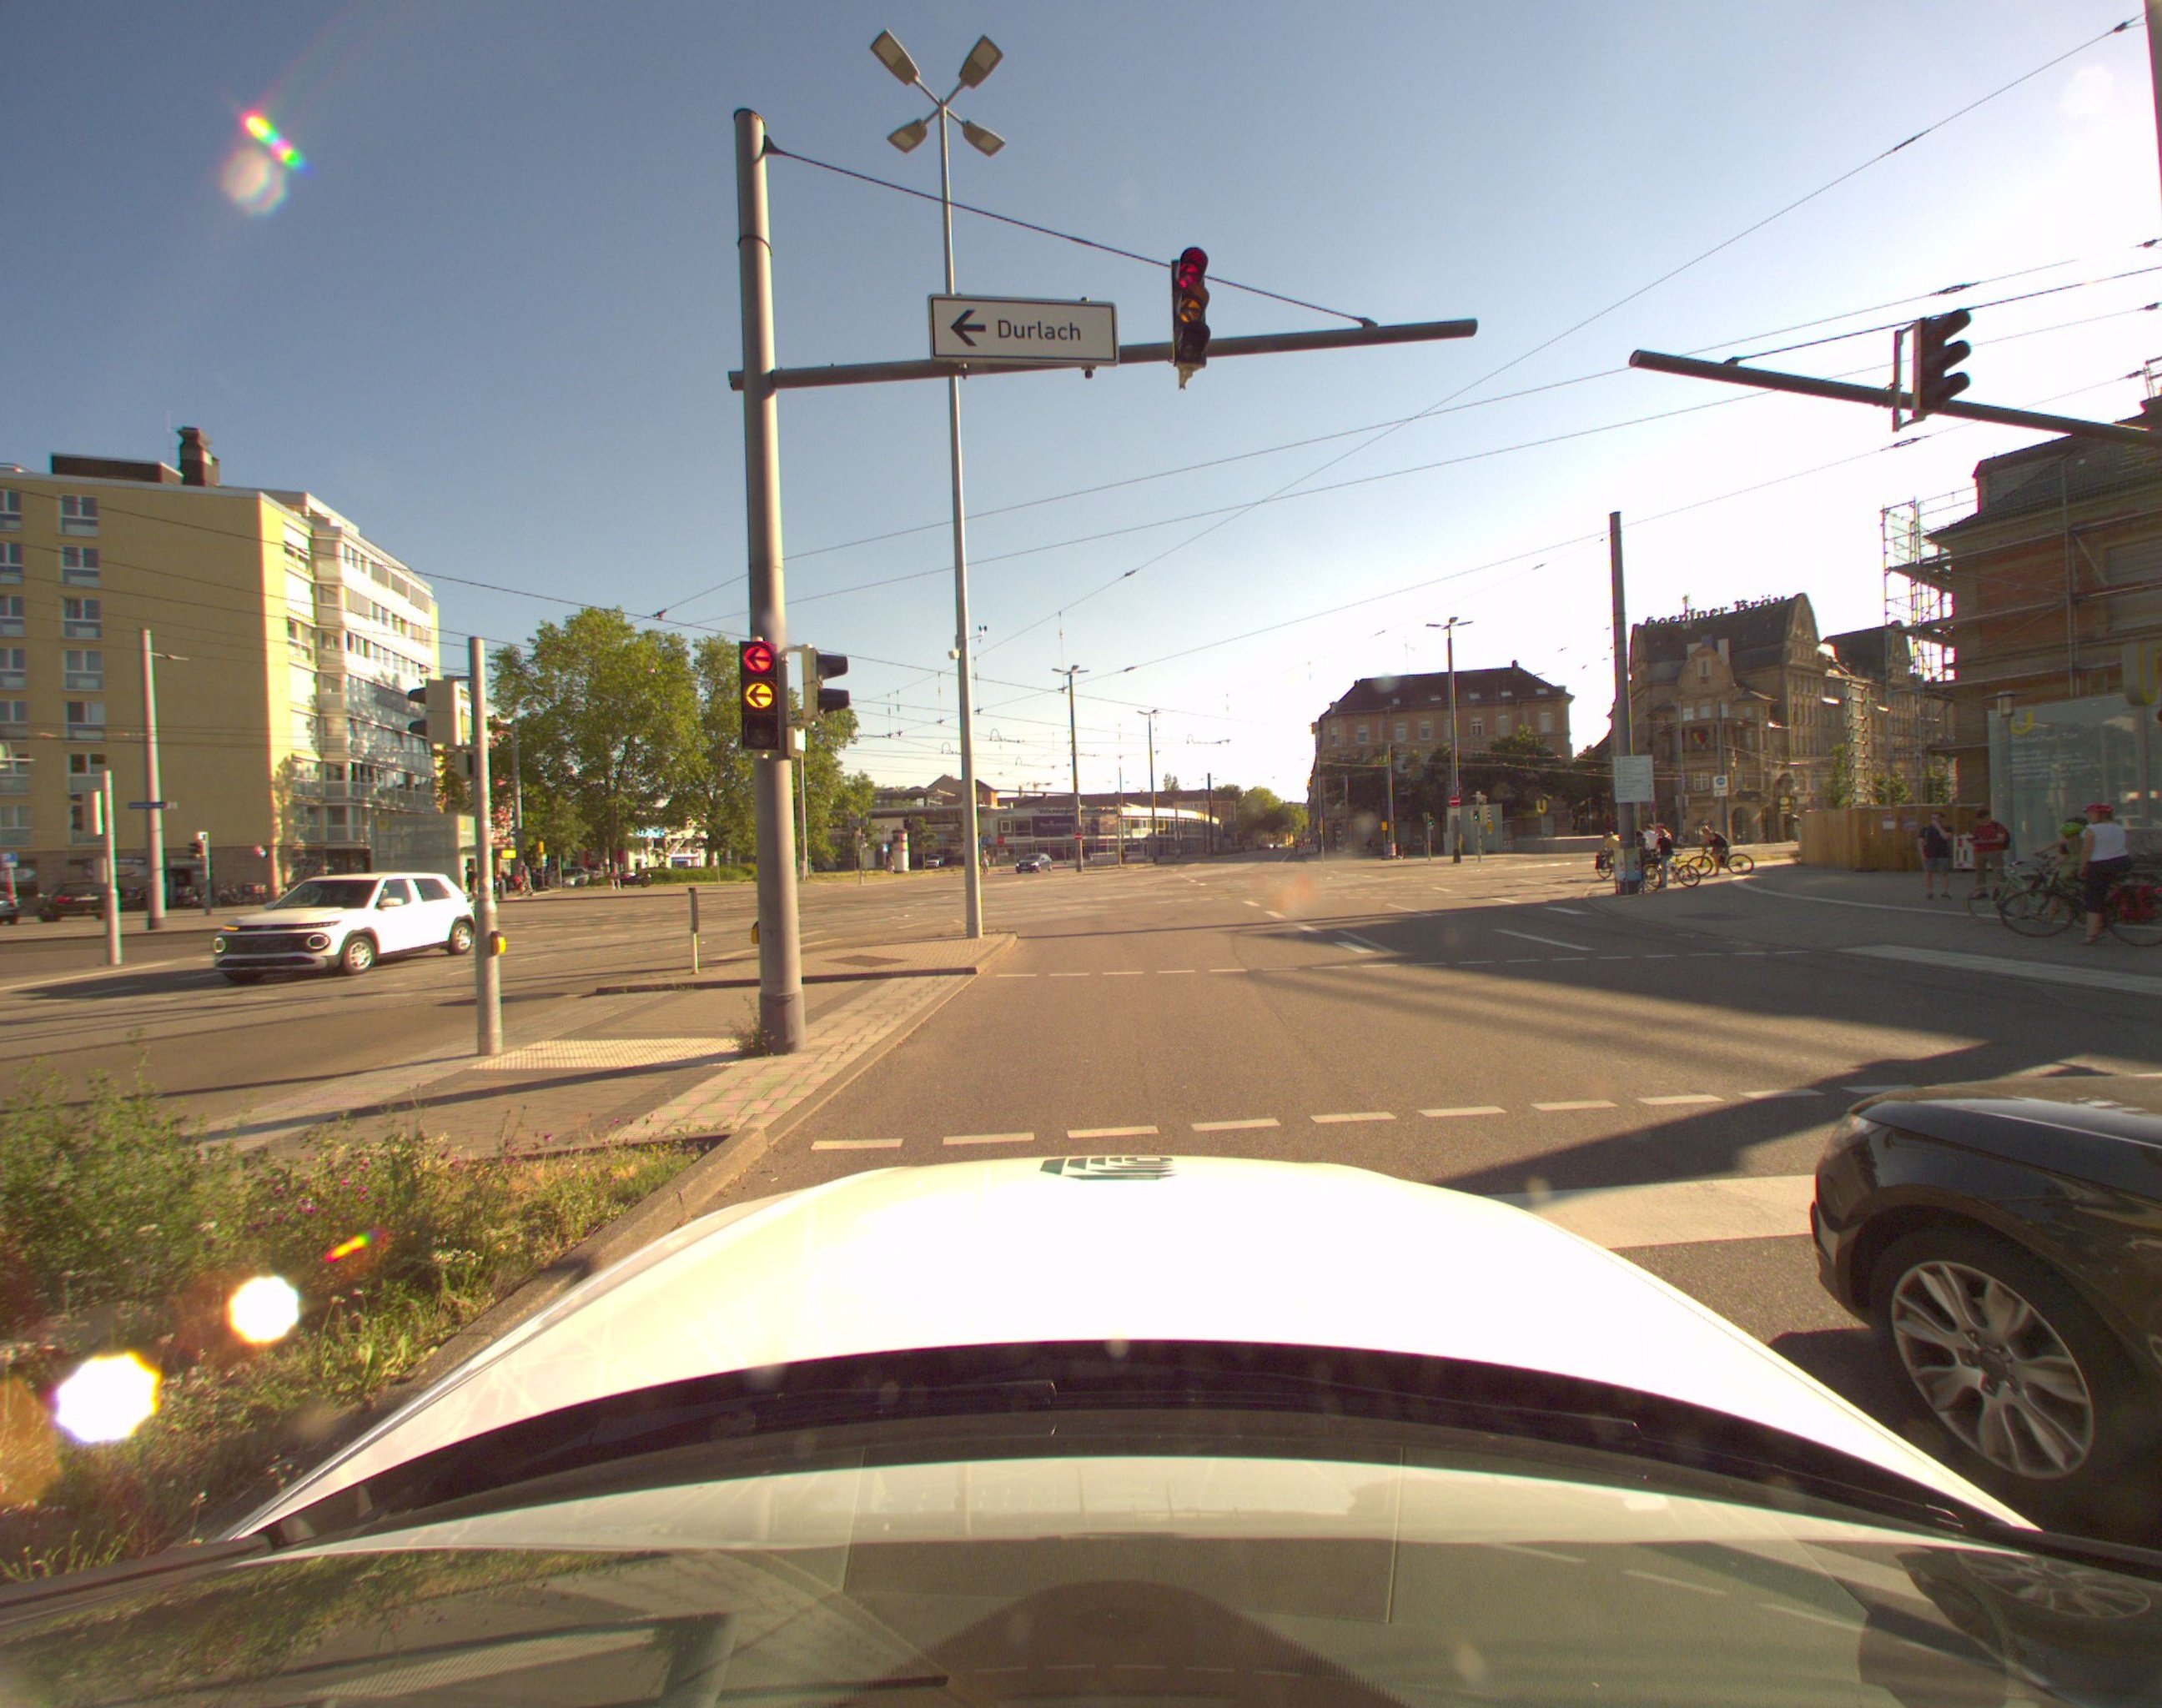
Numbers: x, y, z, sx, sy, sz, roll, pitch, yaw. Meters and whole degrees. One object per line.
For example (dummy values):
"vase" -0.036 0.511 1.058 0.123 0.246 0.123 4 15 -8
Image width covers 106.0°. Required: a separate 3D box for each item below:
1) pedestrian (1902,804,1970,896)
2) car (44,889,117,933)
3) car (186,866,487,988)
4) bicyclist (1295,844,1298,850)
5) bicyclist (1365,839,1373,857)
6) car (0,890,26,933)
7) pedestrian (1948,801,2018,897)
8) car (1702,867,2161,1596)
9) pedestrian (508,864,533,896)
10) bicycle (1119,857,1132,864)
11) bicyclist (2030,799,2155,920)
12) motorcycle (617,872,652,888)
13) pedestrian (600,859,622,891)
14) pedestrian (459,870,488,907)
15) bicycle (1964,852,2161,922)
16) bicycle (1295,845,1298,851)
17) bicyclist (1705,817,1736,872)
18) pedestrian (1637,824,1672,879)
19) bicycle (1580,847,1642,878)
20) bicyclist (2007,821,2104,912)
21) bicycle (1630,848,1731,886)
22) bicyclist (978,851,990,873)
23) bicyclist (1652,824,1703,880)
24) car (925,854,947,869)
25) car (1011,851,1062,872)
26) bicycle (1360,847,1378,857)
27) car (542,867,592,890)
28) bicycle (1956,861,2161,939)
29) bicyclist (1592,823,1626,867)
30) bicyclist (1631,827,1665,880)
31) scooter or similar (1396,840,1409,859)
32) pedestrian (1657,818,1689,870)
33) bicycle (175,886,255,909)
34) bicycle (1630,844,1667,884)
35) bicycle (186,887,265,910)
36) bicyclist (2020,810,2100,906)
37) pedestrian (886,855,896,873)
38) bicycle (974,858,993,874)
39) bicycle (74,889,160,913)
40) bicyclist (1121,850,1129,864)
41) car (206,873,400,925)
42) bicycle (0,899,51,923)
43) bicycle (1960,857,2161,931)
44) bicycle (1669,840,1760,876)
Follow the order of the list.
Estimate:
"pedestrian" 17.342 -0.084 16.523 0.672 1.807 0.680 -3 0 -19
"car" -44.281 2.478 36.021 3.948 1.706 1.730 -1 -1 35
"car" -11.970 1.050 13.528 1.780 1.662 3.987 0 -1 -9
"bicyclist" 35.453 -1.151 133.842 0.405 1.116 0.400 -1 -1 13
"bicyclist" 27.563 -0.609 77.926 0.509 1.700 0.523 -1 -1 35
"car" -47.005 2.471 34.869 3.948 1.706 2.013 -1 -1 35
"pedestrian" 17.545 -0.091 15.846 0.672 1.807 0.680 0 -1 -19
"car" 2.889 0.735 0.784 1.617 1.404 4.001 0 -1 2
"pedestrian" -30.523 1.426 44.349 0.790 1.706 0.760 -1 -1 9
"bicycle" 5.294 0.736 96.607 0.632 0.870 2.249 -1 -1 32
"bicyclist" 13.466 0.068 10.867 0.664 1.553 0.794 0 -1 -3
"motorcycle" -27.262 1.580 49.762 1.779 0.914 0.675 0 -1 -19
"pedestrian" -27.889 1.254 48.344 0.790 1.886 0.760 -1 -1 9
"pedestrian" -28.763 1.639 38.541 0.790 1.706 0.760 -1 -1 9
"bicycle" 15.424 0.483 12.766 0.661 0.963 2.018 -4 1 -25
"bicycle" 35.473 -1.053 133.957 0.407 0.941 1.852 -1 -1 15
"bicyclist" 21.058 -0.298 26.829 0.785 1.779 0.526 -1 -1 37
"pedestrian" 21.301 -0.104 30.255 0.730 2.014 0.760 0 -1 -6
"bicycle" 19.124 0.286 29.431 0.533 1.049 2.315 0 1 -6
"bicyclist" 14.434 0.179 12.077 0.614 1.315 0.673 0 -1 -3
"bicycle" 17.135 0.362 23.357 0.701 1.049 2.303 0 -1 -22
"bicyclist" -7.158 0.569 60.256 0.593 1.615 0.827 -1 -1 20
"bicyclist" 17.115 -0.046 23.393 0.711 1.557 0.940 0 -1 -22
"car" -17.777 0.909 100.024 1.988 1.750 3.997 0 -1 -1
"car" -3.341 0.567 62.027 1.975 1.585 4.024 -1 -1 29
"bicycle" 27.557 -0.202 77.931 1.579 0.952 0.663 -1 -1 35
"car" -37.305 1.724 59.244 1.772 1.567 3.983 0 -1 -12
"bicycle" 13.457 0.586 11.164 0.656 0.963 2.033 0 -1 -3
"bicyclist" 19.114 -0.313 29.504 0.514 1.557 0.945 0 -1 -7
"bicyclist" 15.865 -0.004 22.822 0.701 1.439 0.953 -1 -1 31
"scooter or similar" 24.725 -0.329 62.680 0.780 1.376 1.916 -1 -1 16
"pedestrian" 22.024 -0.359 30.307 0.646 1.922 0.689 0 -1 -6
"bicycle" -46.289 2.325 43.557 3.041 1.151 0.637 0 -1 -16
"bicycle" 15.863 0.262 22.814 0.692 1.049 2.335 0 1 31
"bicycle" -46.434 2.417 44.218 3.041 1.151 0.637 0 -1 -16
"bicyclist" 15.392 0.065 12.809 0.619 1.454 0.667 0 -1 -27
"pedestrian" -18.663 0.979 80.020 0.854 1.694 0.497 0 -1 -1
"bicycle" -7.202 0.896 60.118 0.607 1.189 1.878 -1 -1 19
"bicycle" -50.265 2.429 42.508 3.041 1.151 0.637 0 -1 -16
"bicyclist" 5.207 0.367 96.486 0.647 1.572 0.928 -1 -1 31
"car" -26.346 1.498 27.714 4.695 1.662 1.784 0 -1 -4
"bicycle" -54.387 2.874 41.182 3.041 1.151 0.637 0 -1 -16
"bicycle" 14.451 0.549 12.009 0.657 0.963 2.033 -4 0 -3
"bicycle" 20.910 0.141 26.933 2.290 1.049 0.539 -5 -1 36
